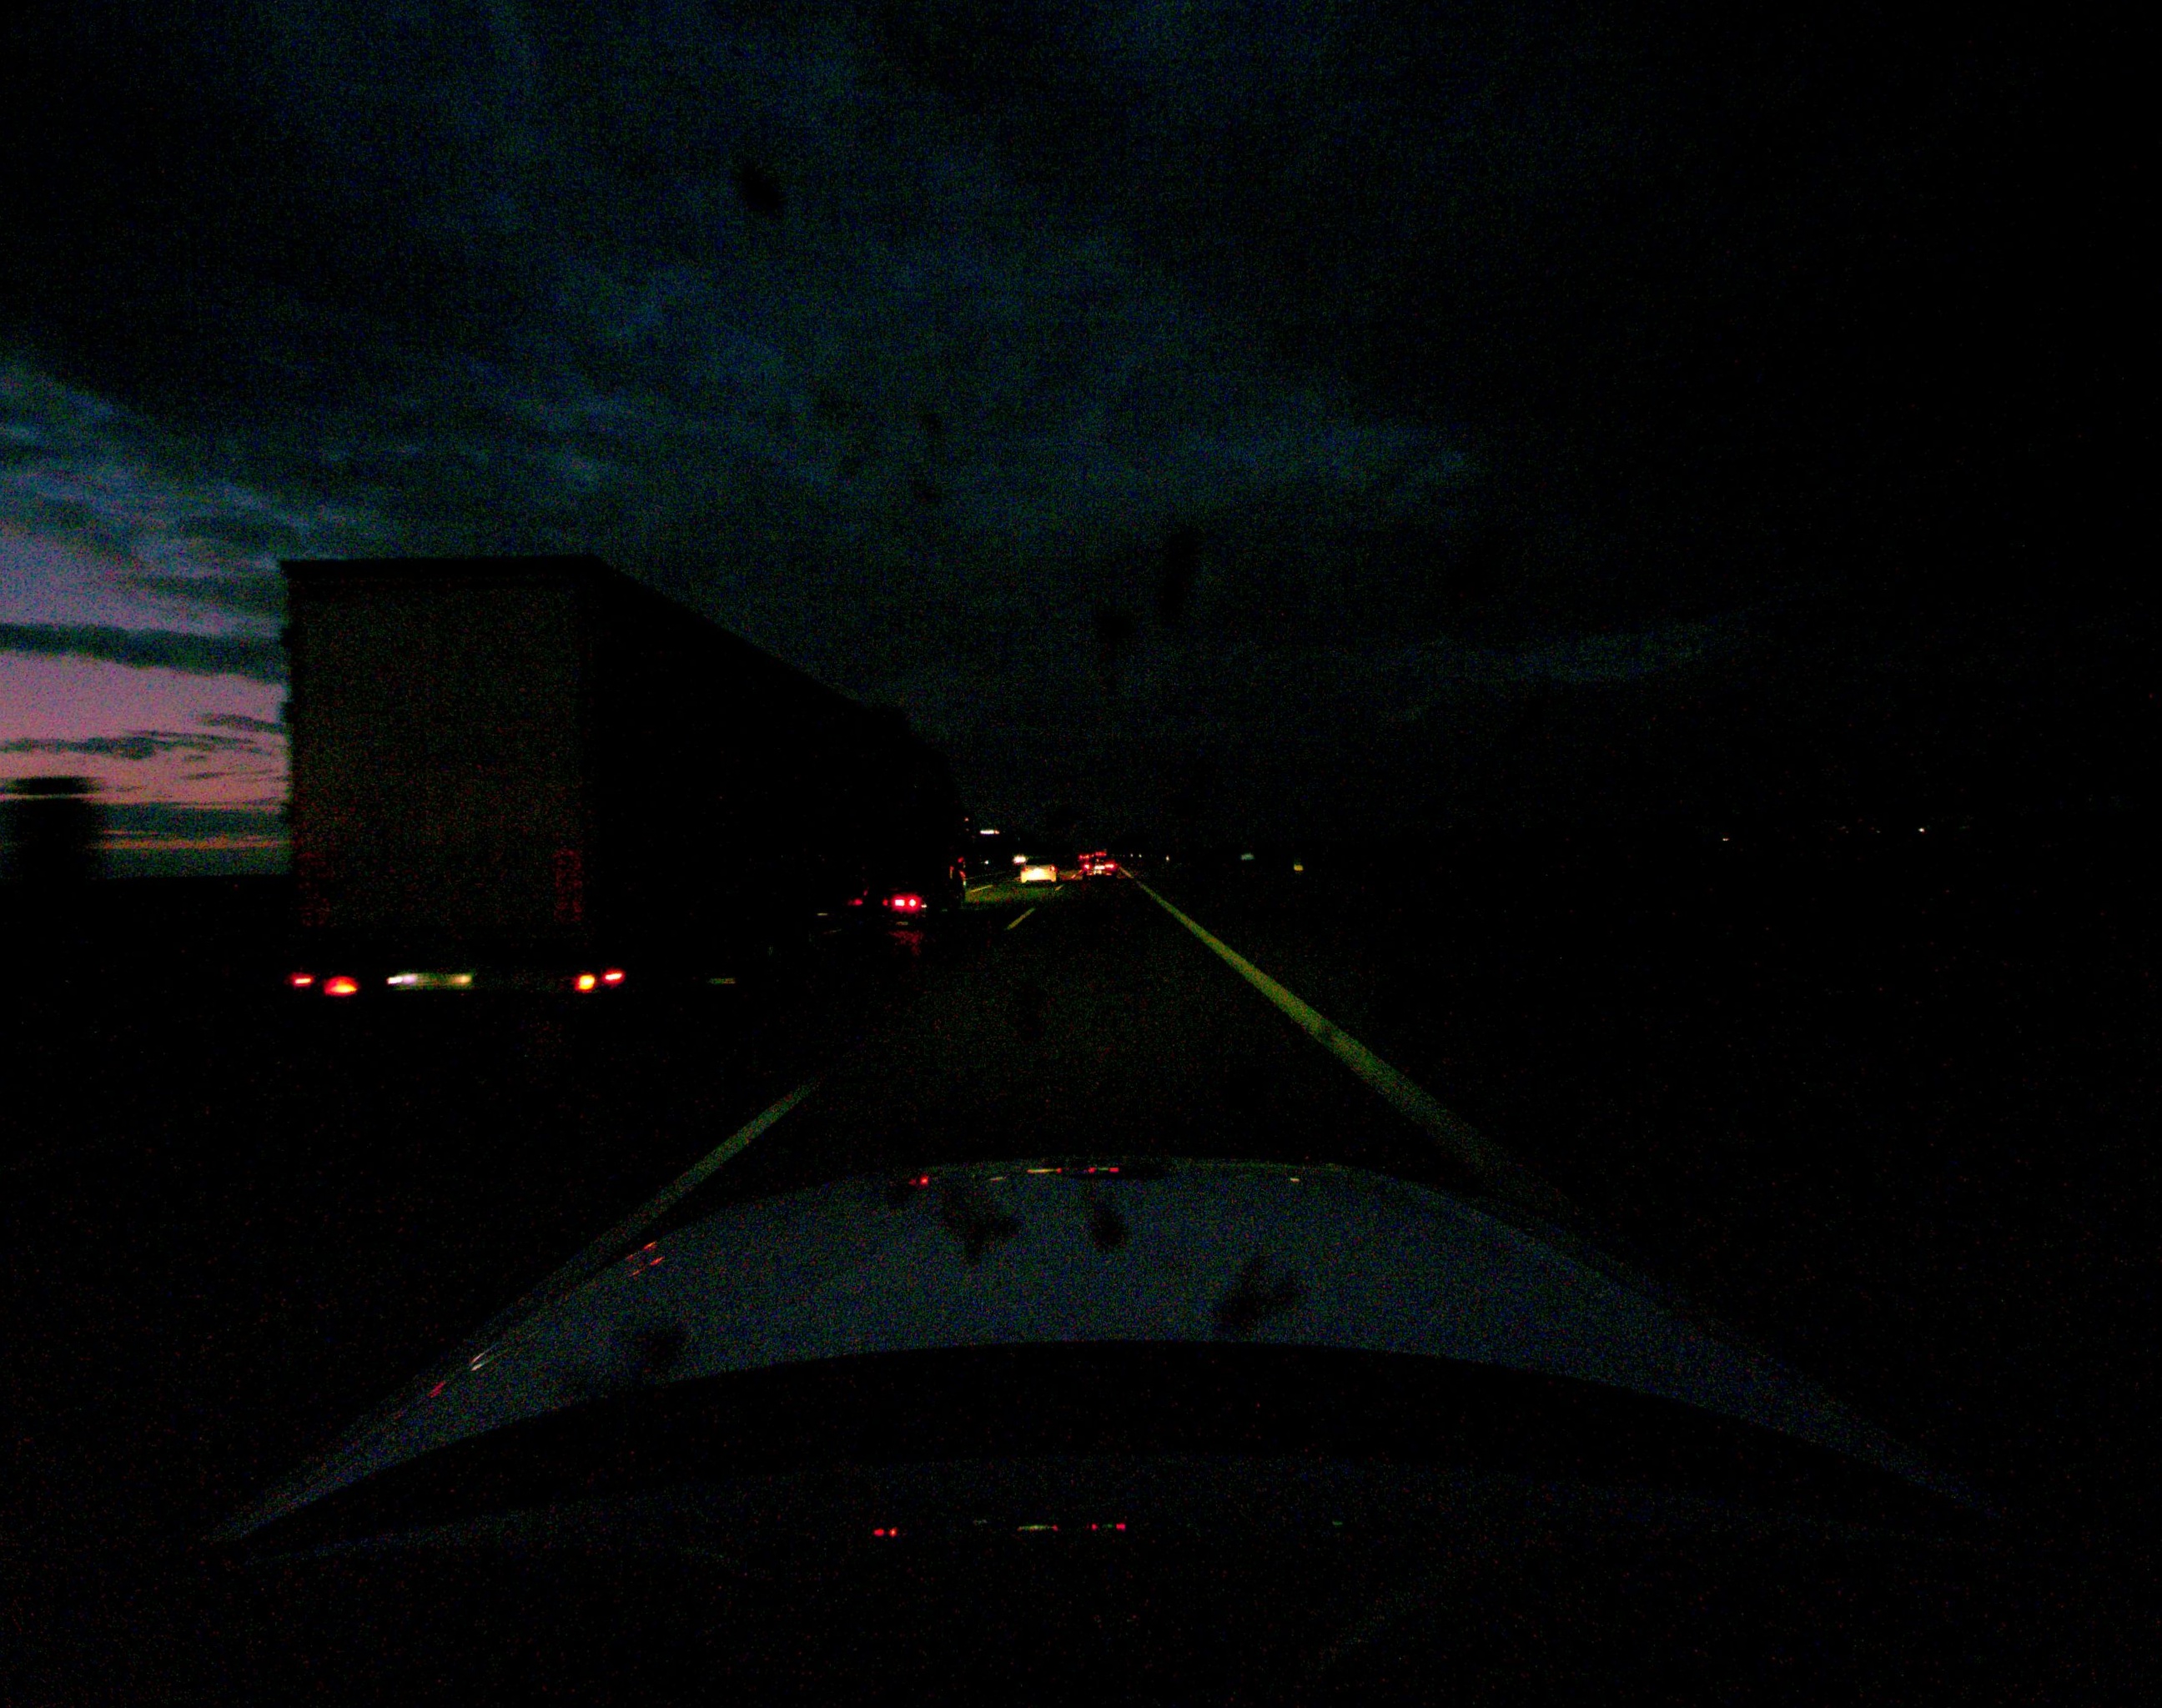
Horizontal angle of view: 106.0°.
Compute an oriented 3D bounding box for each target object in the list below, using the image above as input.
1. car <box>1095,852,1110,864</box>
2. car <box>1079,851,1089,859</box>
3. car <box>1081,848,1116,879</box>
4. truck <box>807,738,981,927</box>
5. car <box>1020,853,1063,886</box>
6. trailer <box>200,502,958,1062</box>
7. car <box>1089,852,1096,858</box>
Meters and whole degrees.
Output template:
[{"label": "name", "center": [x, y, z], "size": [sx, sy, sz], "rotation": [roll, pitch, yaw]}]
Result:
[{"label": "car", "center": [2.758, 0.519, 103.621], "size": [1.874, 1.552, 4.000], "rotation": [0, 0, 1]}, {"label": "car", "center": [0.544, 0.216, 162.103], "size": [1.874, 1.552, 4.000], "rotation": [0, 0, 1]}, {"label": "car", "center": [0.998, 0.524, 46.011], "size": [1.873, 1.643, 4.001], "rotation": [0, 0, 1]}, {"label": "truck", "center": [-4.527, -0.456, 21.087], "size": [2.767, 4.093, 6.106], "rotation": [-2, -1, 2]}, {"label": "car", "center": [-1.895, 0.742, 39.976], "size": [1.737, 1.525, 4.416], "rotation": [0, 0, 2]}, {"label": "trailer", "center": [-4.853, -0.483, 13.312], "size": [2.783, 4.085, 14.533], "rotation": [-2, 0, 2]}, {"label": "car", "center": [3.580, 0.209, 248.150], "size": [2.191, 1.879, 4.001], "rotation": [0, 0, 1]}]
